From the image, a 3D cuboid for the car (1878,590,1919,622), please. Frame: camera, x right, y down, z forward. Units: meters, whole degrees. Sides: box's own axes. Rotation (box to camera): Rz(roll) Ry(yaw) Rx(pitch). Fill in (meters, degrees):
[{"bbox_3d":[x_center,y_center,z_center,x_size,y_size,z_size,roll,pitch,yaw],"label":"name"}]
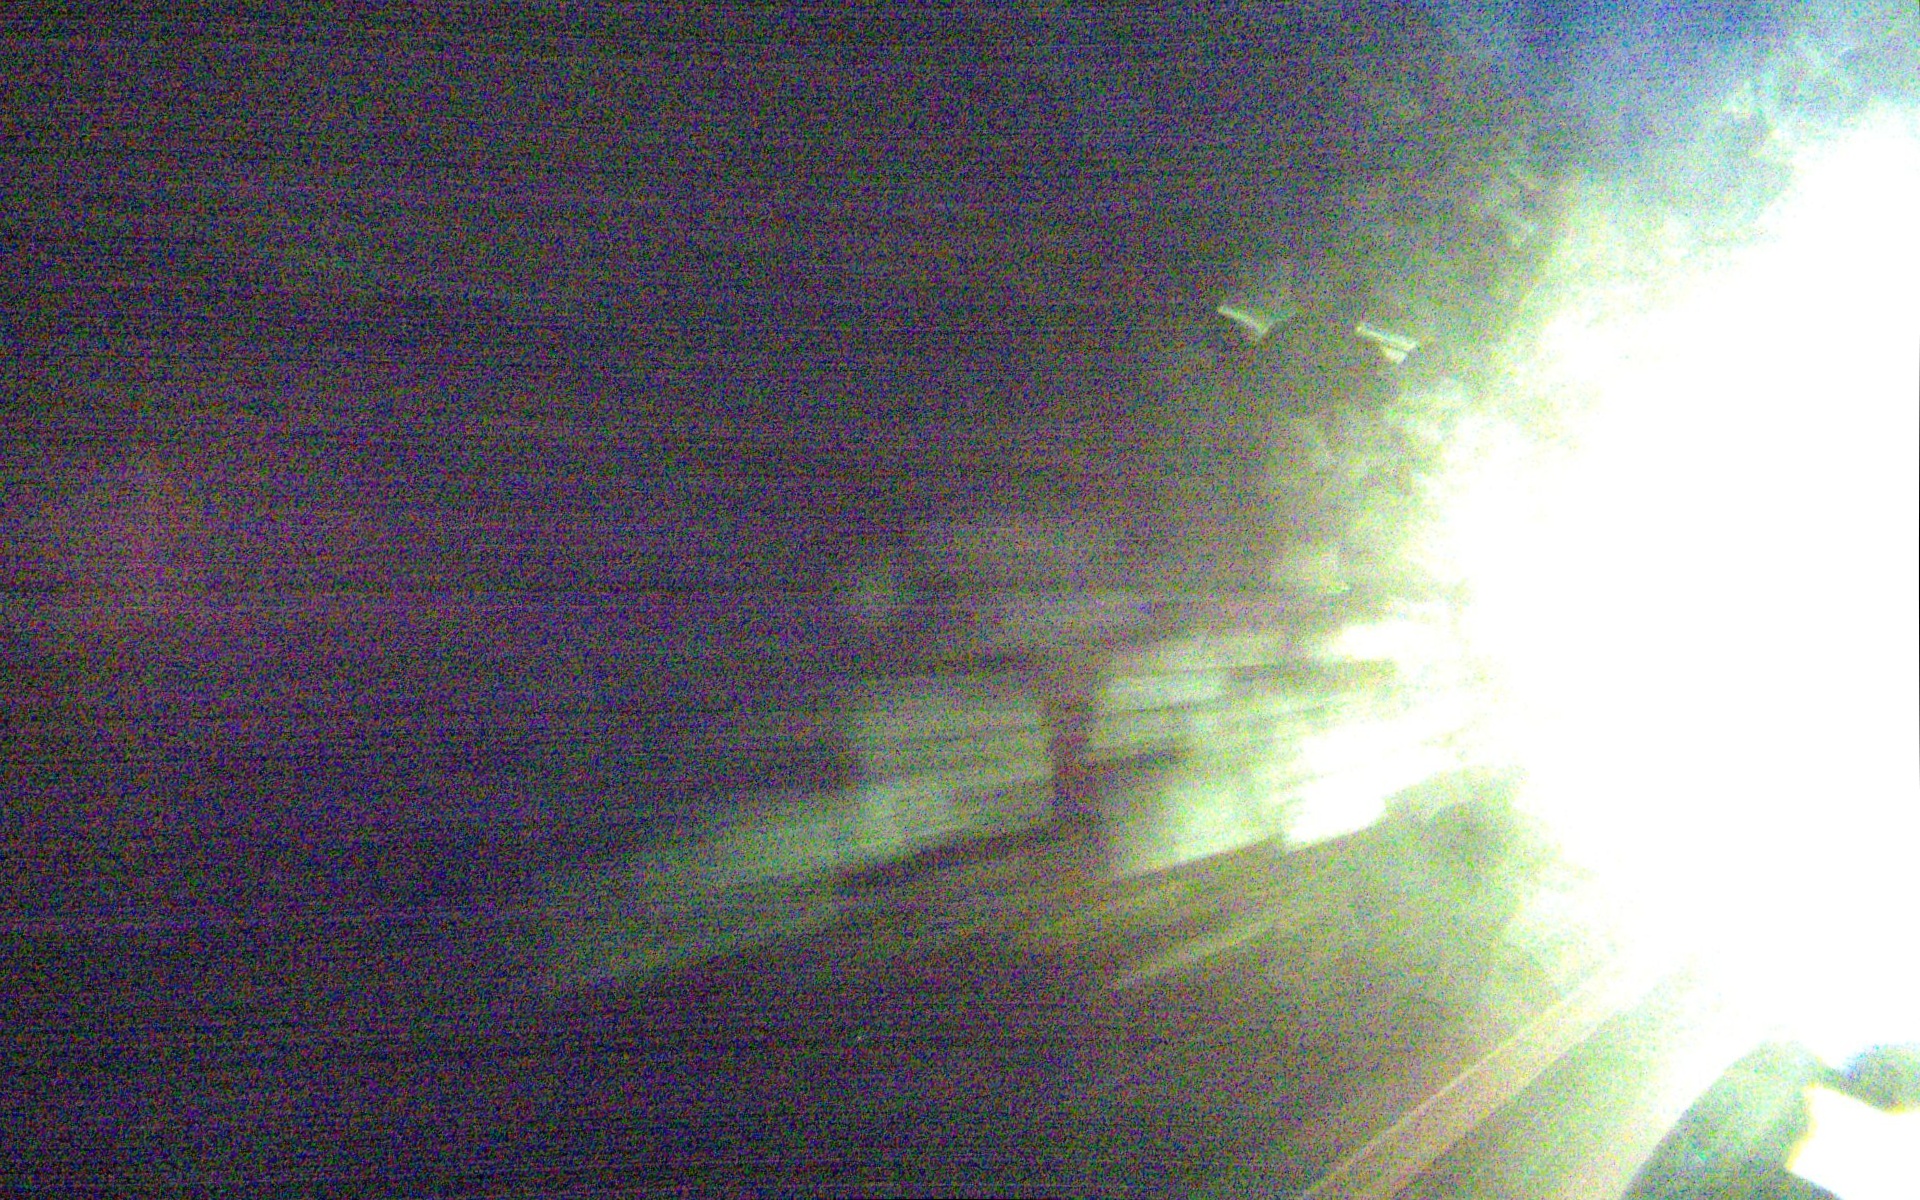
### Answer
[{"bbox_3d":[55.732,0.336,59.856,1.700,1.794,3.947,1,1,37],"label":"car"}]
